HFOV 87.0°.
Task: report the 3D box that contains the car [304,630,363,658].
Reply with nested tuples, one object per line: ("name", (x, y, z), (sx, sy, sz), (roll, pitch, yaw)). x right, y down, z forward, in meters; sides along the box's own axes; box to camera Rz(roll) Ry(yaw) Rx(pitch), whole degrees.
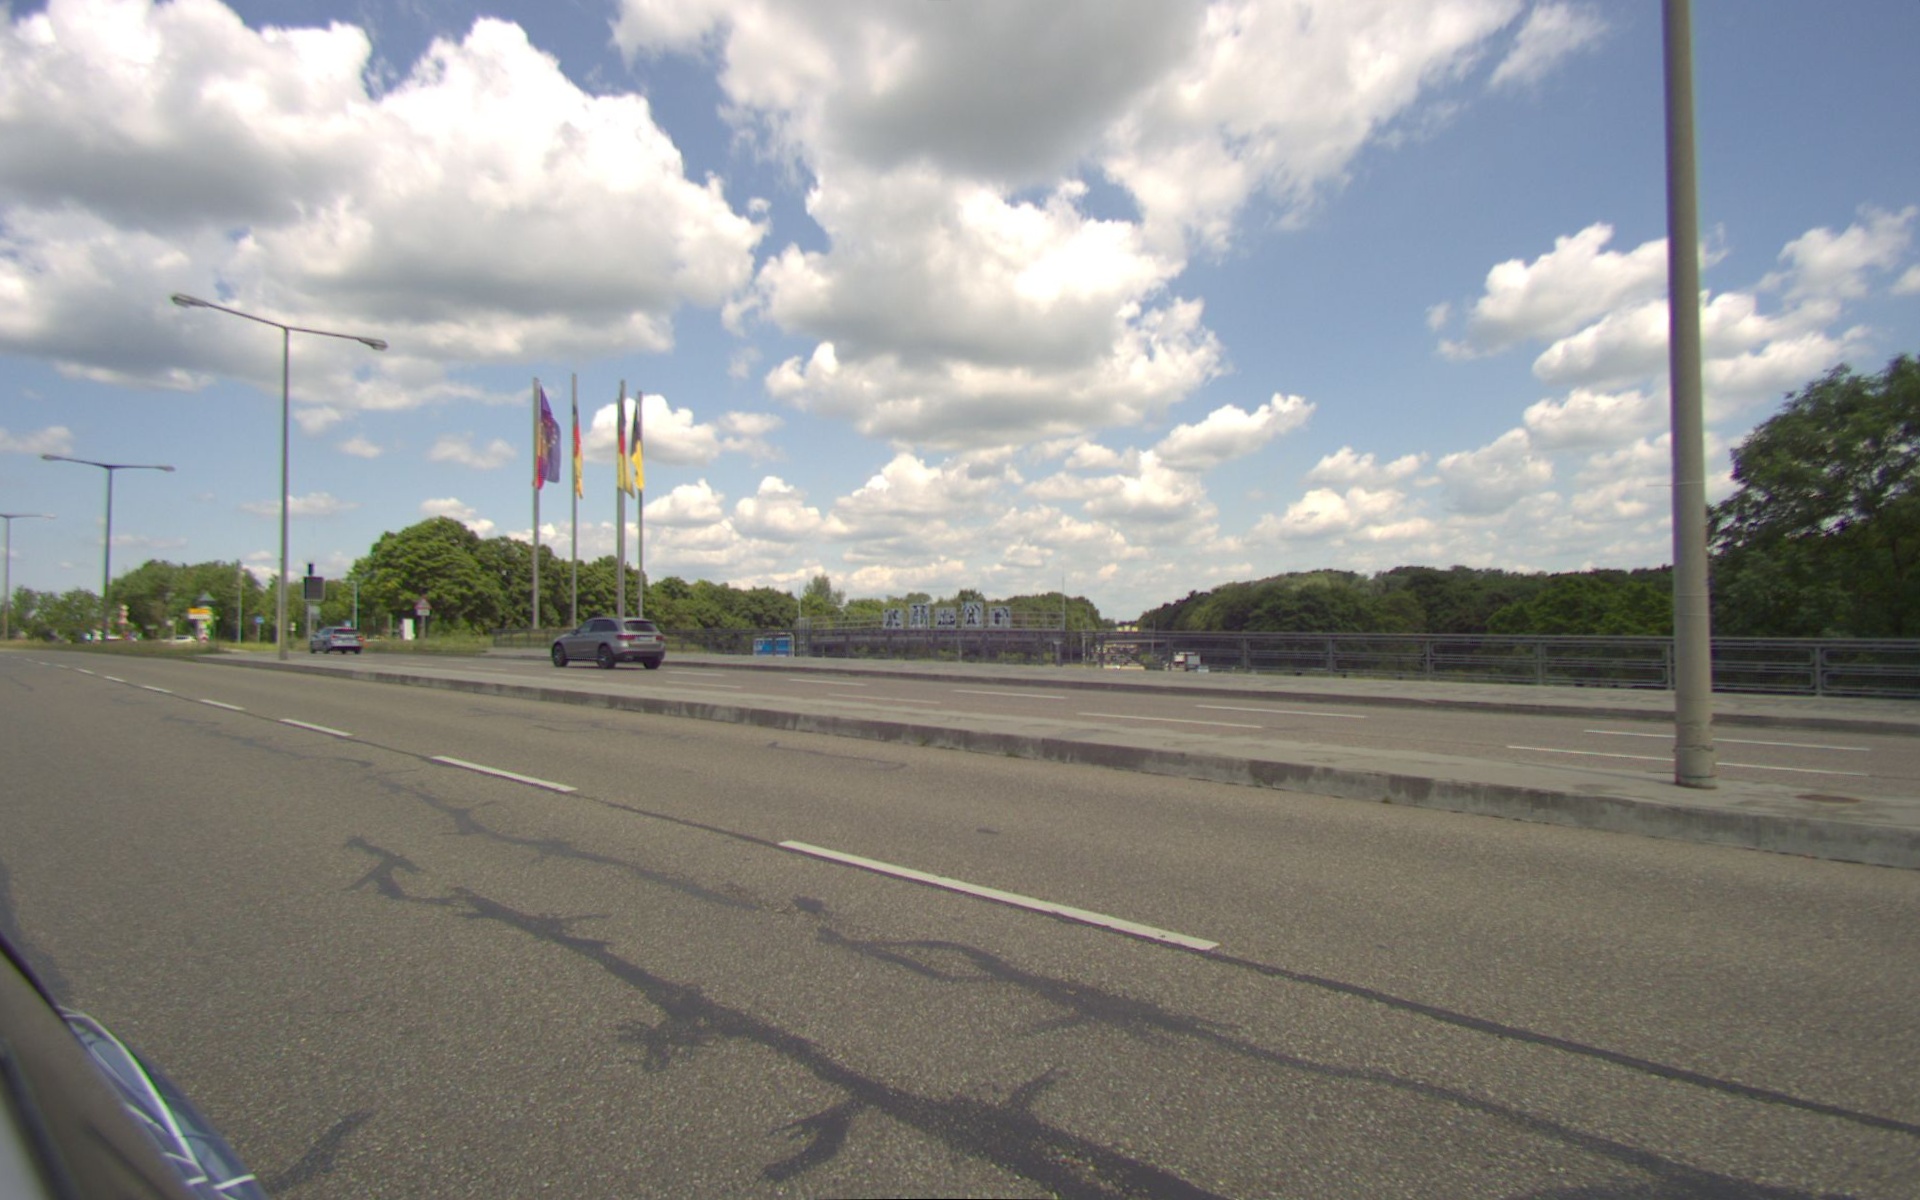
("car", (-34.599, 2.446, 55.853), (4.551, 1.424, 1.645), (-3, -5, 44))

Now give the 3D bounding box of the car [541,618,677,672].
("car", (-11.473, 1.494, 32.964), (4.544, 1.639, 2.067), (-2, -5, 39))
